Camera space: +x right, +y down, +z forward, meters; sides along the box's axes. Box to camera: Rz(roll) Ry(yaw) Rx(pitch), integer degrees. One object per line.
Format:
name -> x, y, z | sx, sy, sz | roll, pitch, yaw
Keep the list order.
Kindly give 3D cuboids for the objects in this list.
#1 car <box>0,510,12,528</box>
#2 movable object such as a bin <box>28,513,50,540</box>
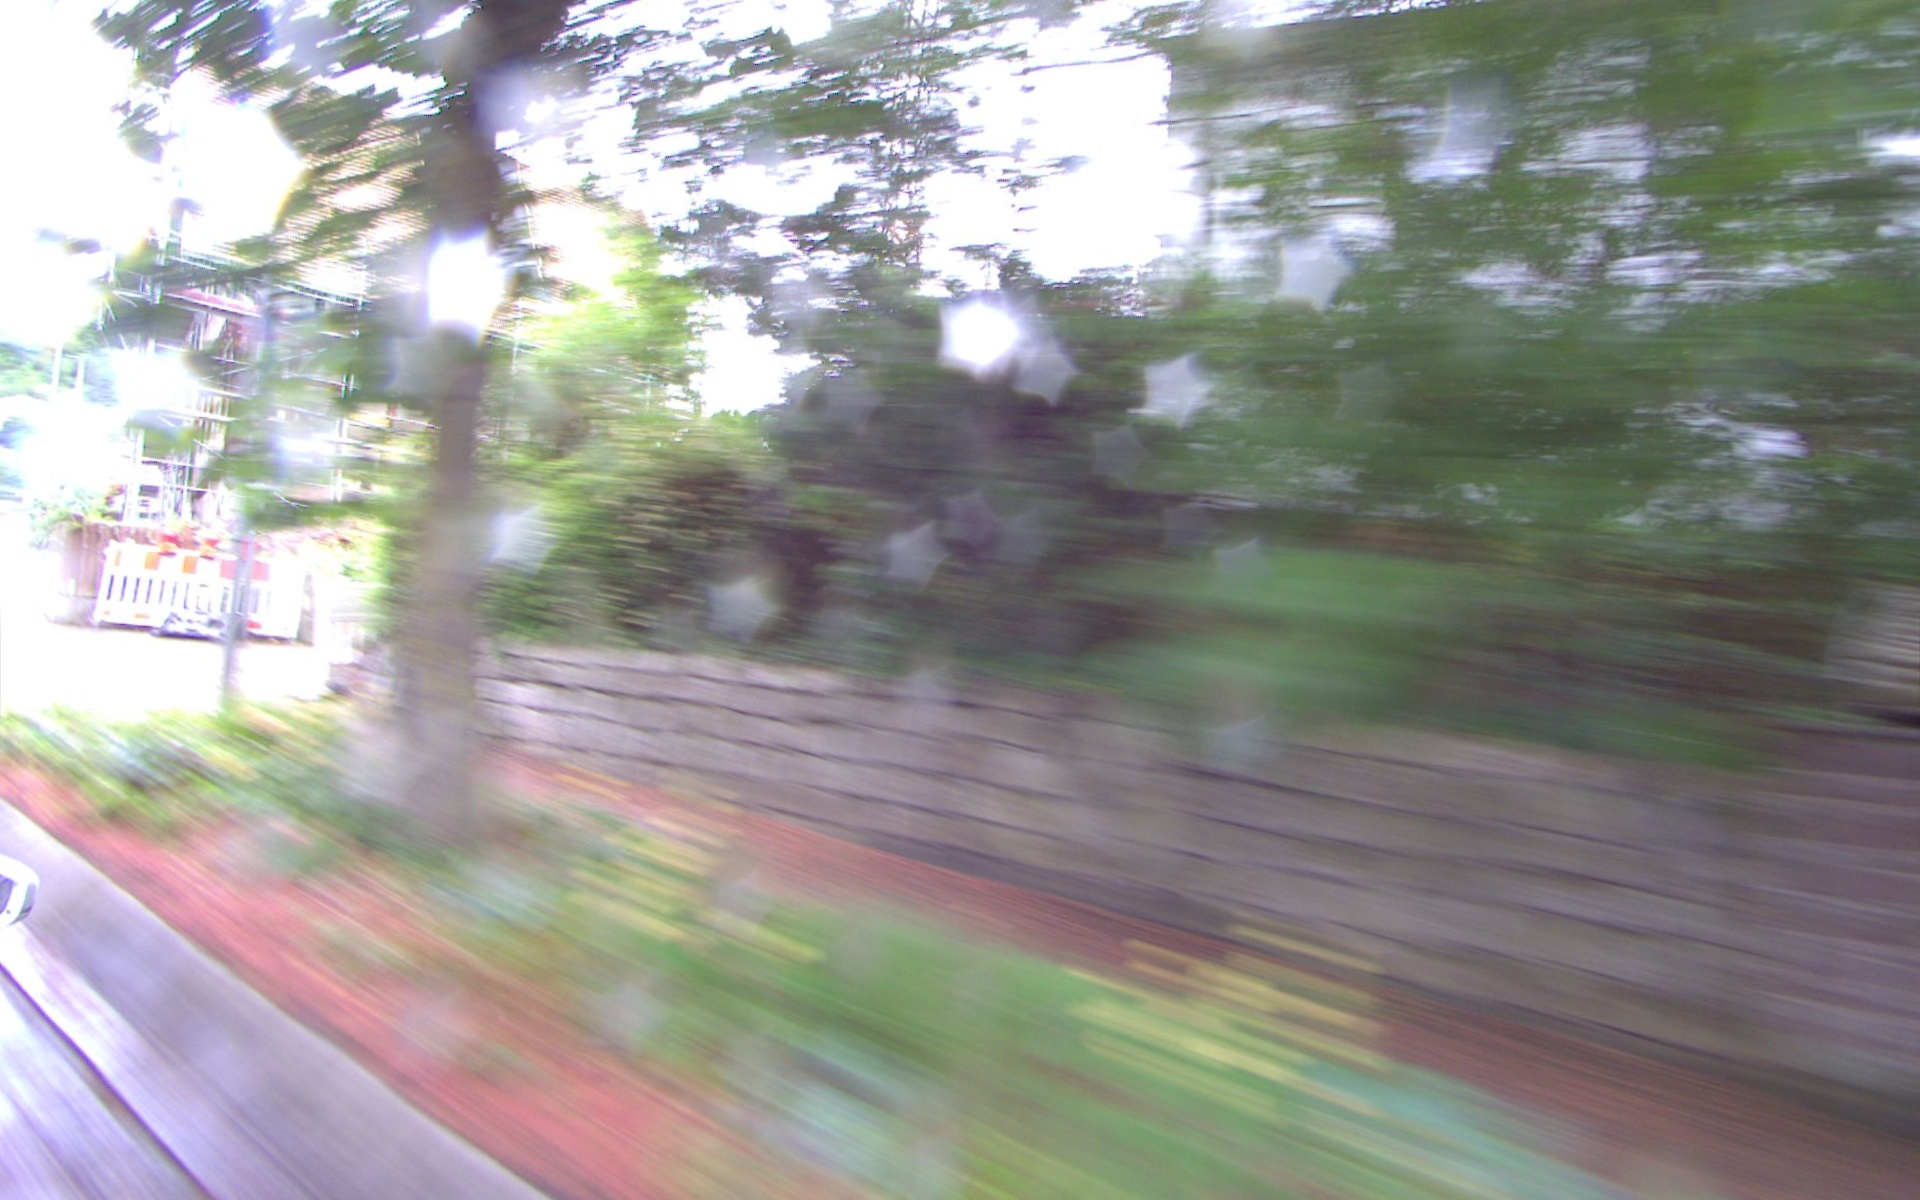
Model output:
car -> -91.347, -7.762, 95.295 | 1.669, 1.586, 3.536 | 9, -3, -36
movable object such as a bin -> -45.020, -3.609, 49.185 | 0.722, 1.216, 0.721 | 6, 0, -43
